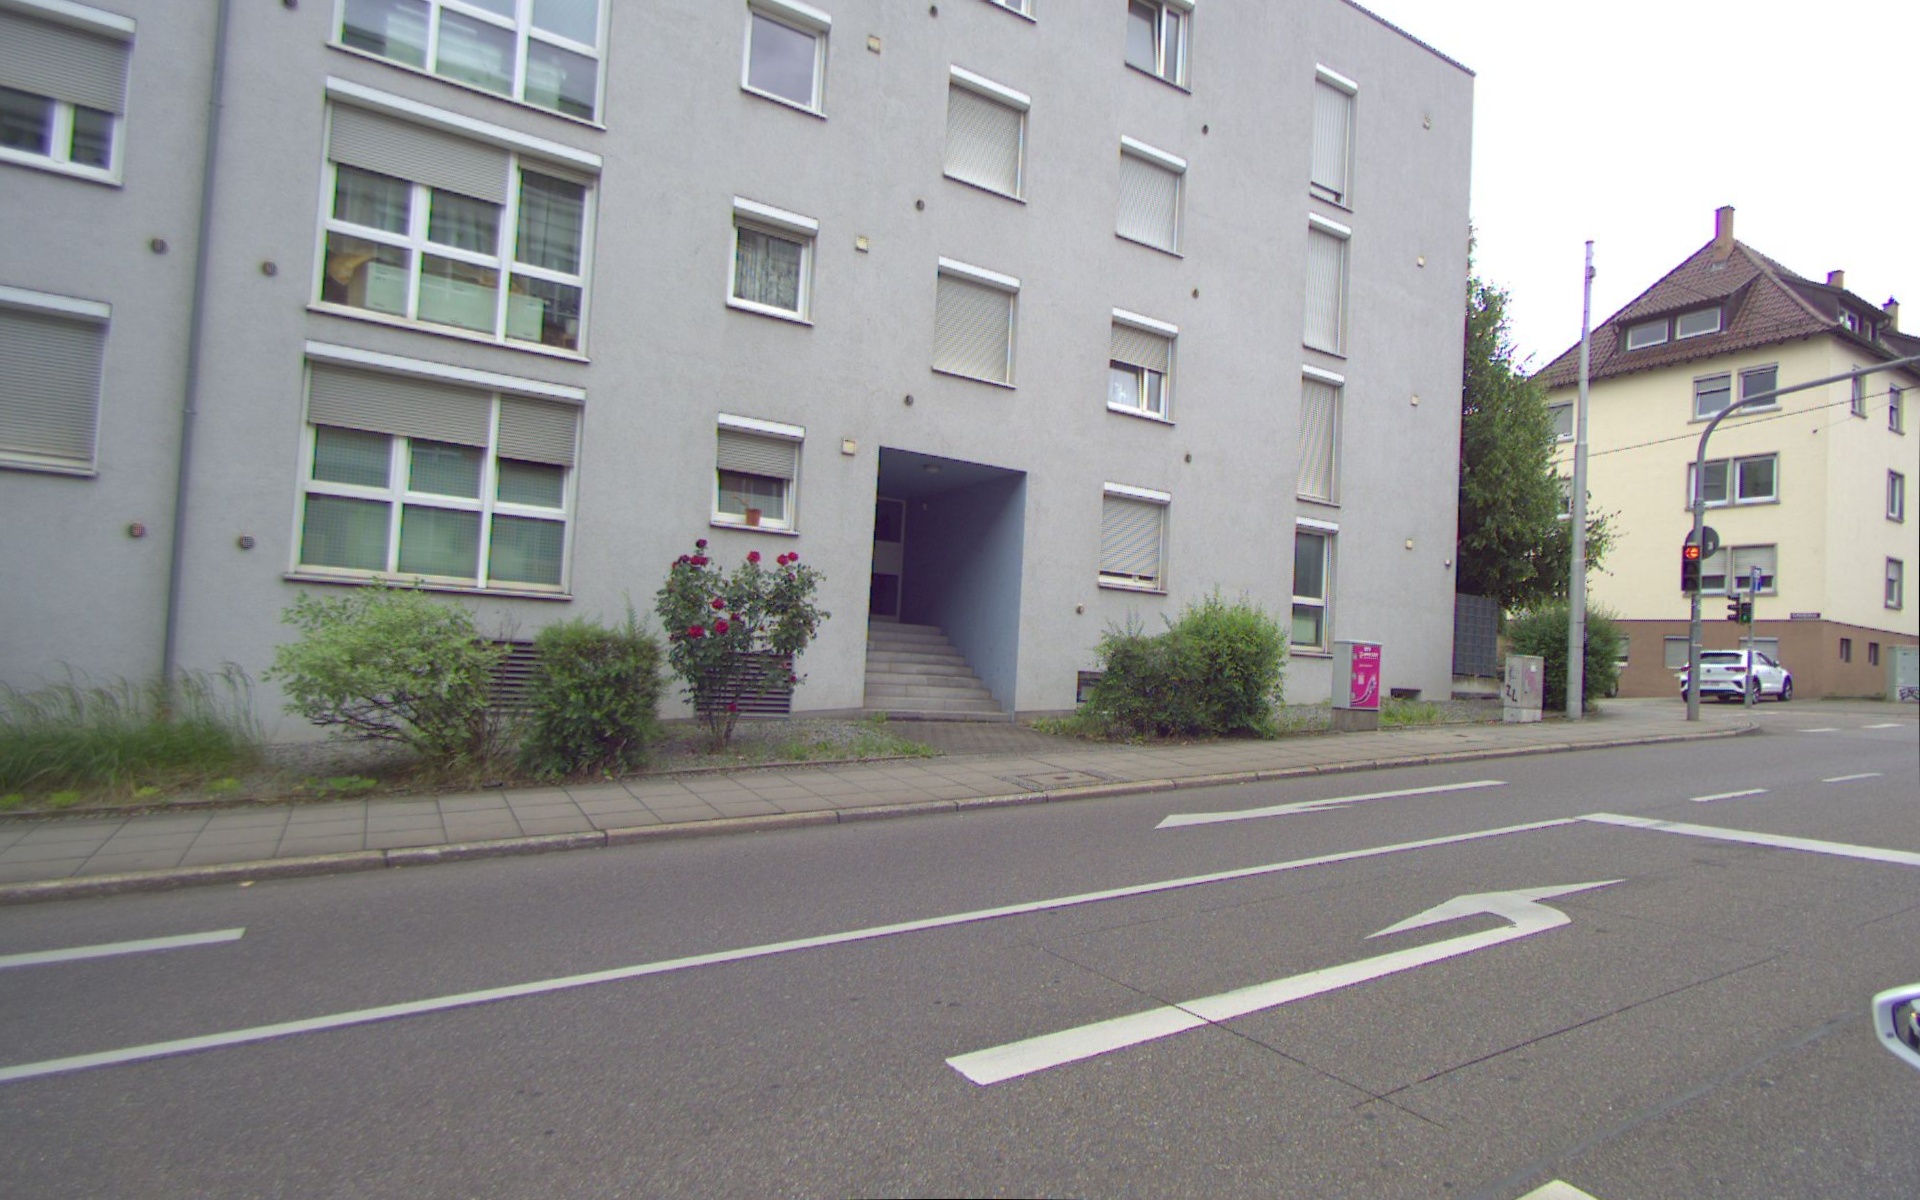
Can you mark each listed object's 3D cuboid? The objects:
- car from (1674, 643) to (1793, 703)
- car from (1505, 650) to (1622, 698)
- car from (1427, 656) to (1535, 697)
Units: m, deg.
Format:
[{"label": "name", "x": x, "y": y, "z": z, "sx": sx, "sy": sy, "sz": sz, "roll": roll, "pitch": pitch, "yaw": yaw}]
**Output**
[{"label": "car", "x": 23.244, "y": 2.154, "z": 30.157, "sx": 3.960, "sy": 1.683, "sz": 1.660, "roll": 2, "pitch": -4, "yaw": -35}, {"label": "car", "x": 20.741, "y": 2.524, "z": 34.496, "sx": 4.053, "sy": 1.566, "sz": 1.662, "roll": 2, "pitch": -4, "yaw": -30}, {"label": "car", "x": 19.051, "y": 2.763, "z": 36.677, "sx": 3.953, "sy": 1.380, "sz": 1.662, "roll": 2, "pitch": -1, "yaw": -30}]
